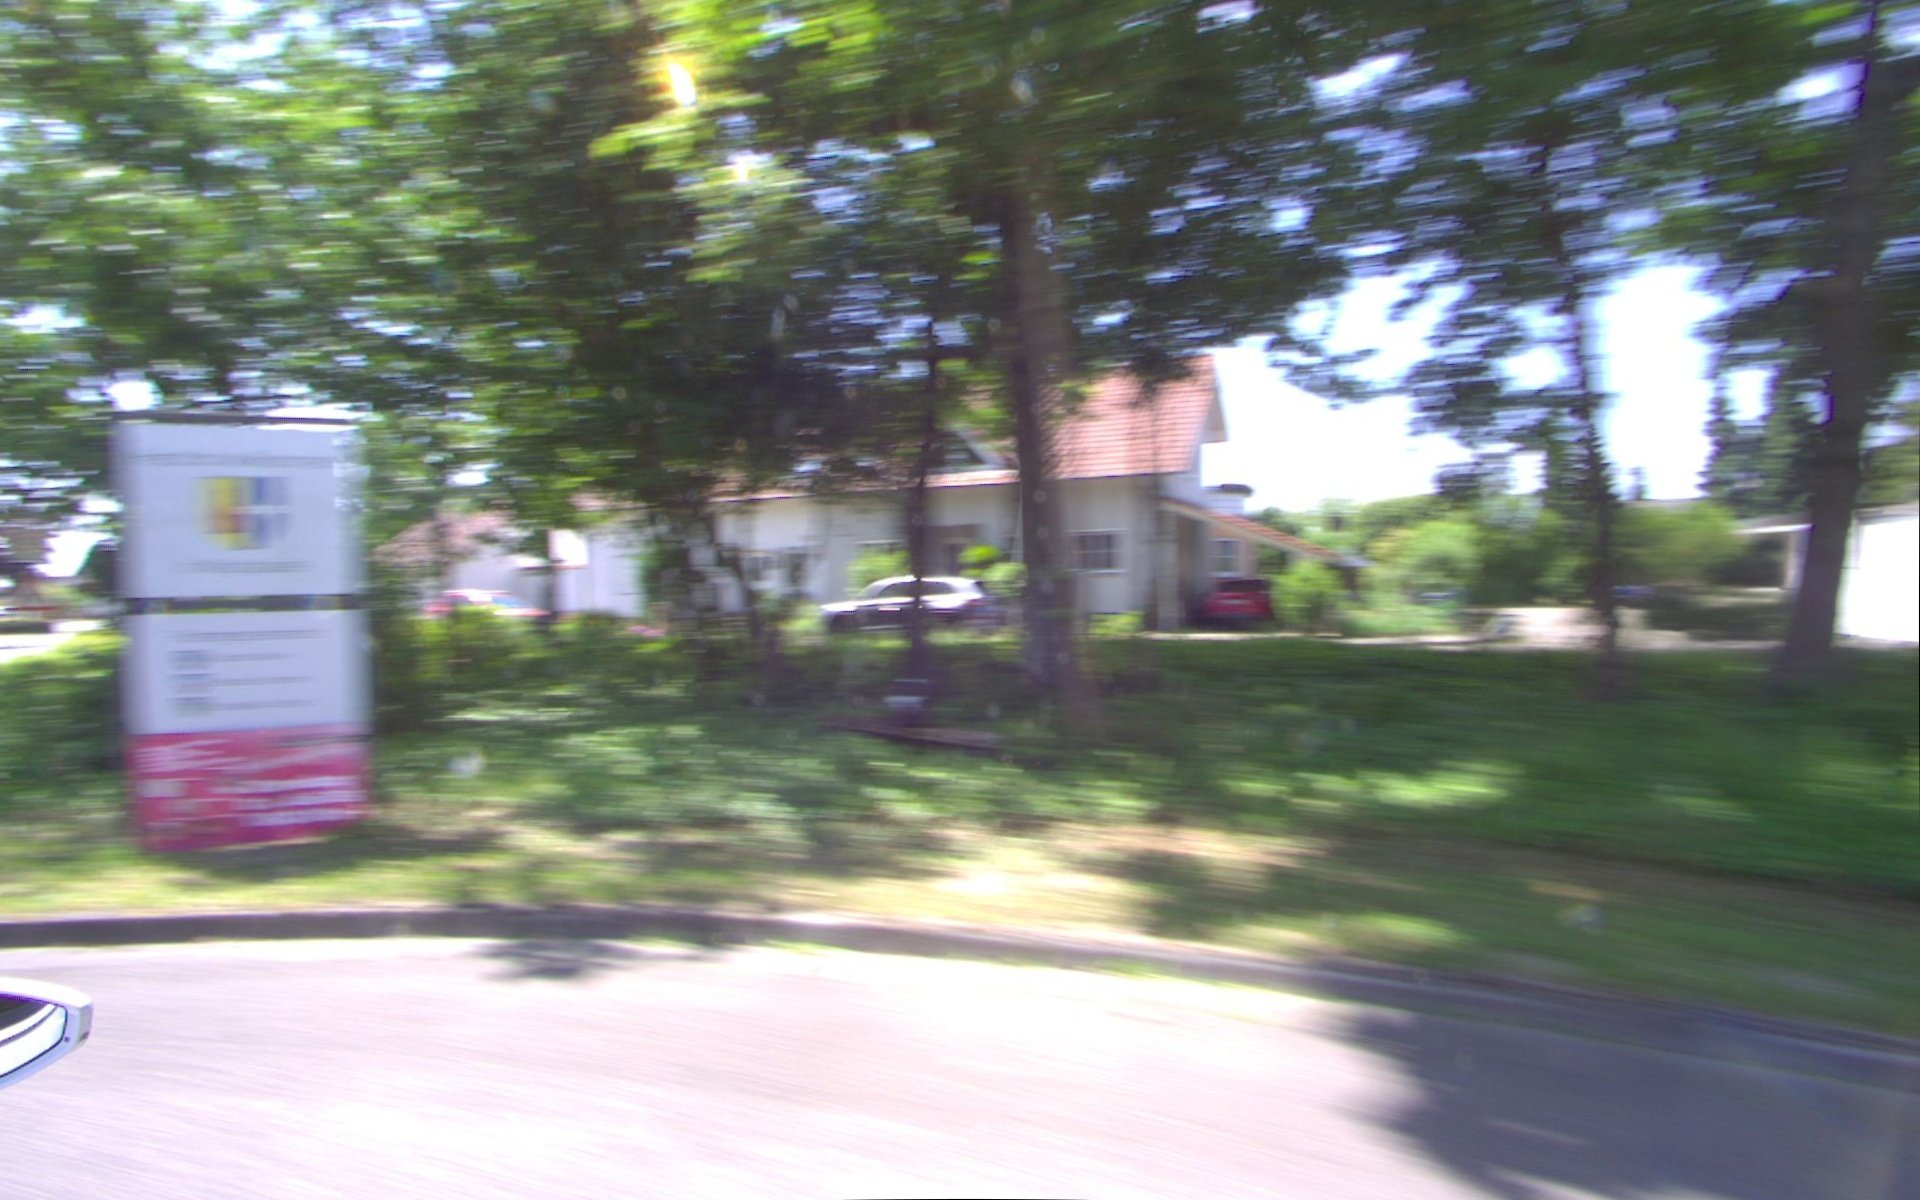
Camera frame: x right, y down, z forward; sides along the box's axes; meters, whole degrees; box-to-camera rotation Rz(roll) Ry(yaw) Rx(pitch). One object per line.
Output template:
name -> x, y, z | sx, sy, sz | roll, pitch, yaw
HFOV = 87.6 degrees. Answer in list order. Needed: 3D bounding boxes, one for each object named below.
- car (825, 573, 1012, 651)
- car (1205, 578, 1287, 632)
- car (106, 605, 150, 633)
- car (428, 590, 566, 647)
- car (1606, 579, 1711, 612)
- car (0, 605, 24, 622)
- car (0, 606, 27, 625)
car -> -0.986, 0.276, 23.582 | 4.073, 1.728, 1.661 | -1, 1, 22
car -> 8.054, 0.112, 28.016 | 1.657, 1.404, 3.680 | -1, 1, 25
car -> -40.819, 0.908, 49.170 | 1.601, 1.305, 3.527 | -1, 1, -39
car -> -13.976, 0.546, 30.200 | 3.963, 1.623, 1.659 | -1, 1, 27
car -> 28.436, -0.202, 40.871 | 3.223, 1.270, 1.569 | -1, 1, 22
car -> -77.762, 1.090, 80.779 | 3.935, 1.305, 1.993 | -1, 1, 25
car -> -69.896, 1.123, 73.312 | 3.509, 1.305, 1.609 | -1, 1, 35
